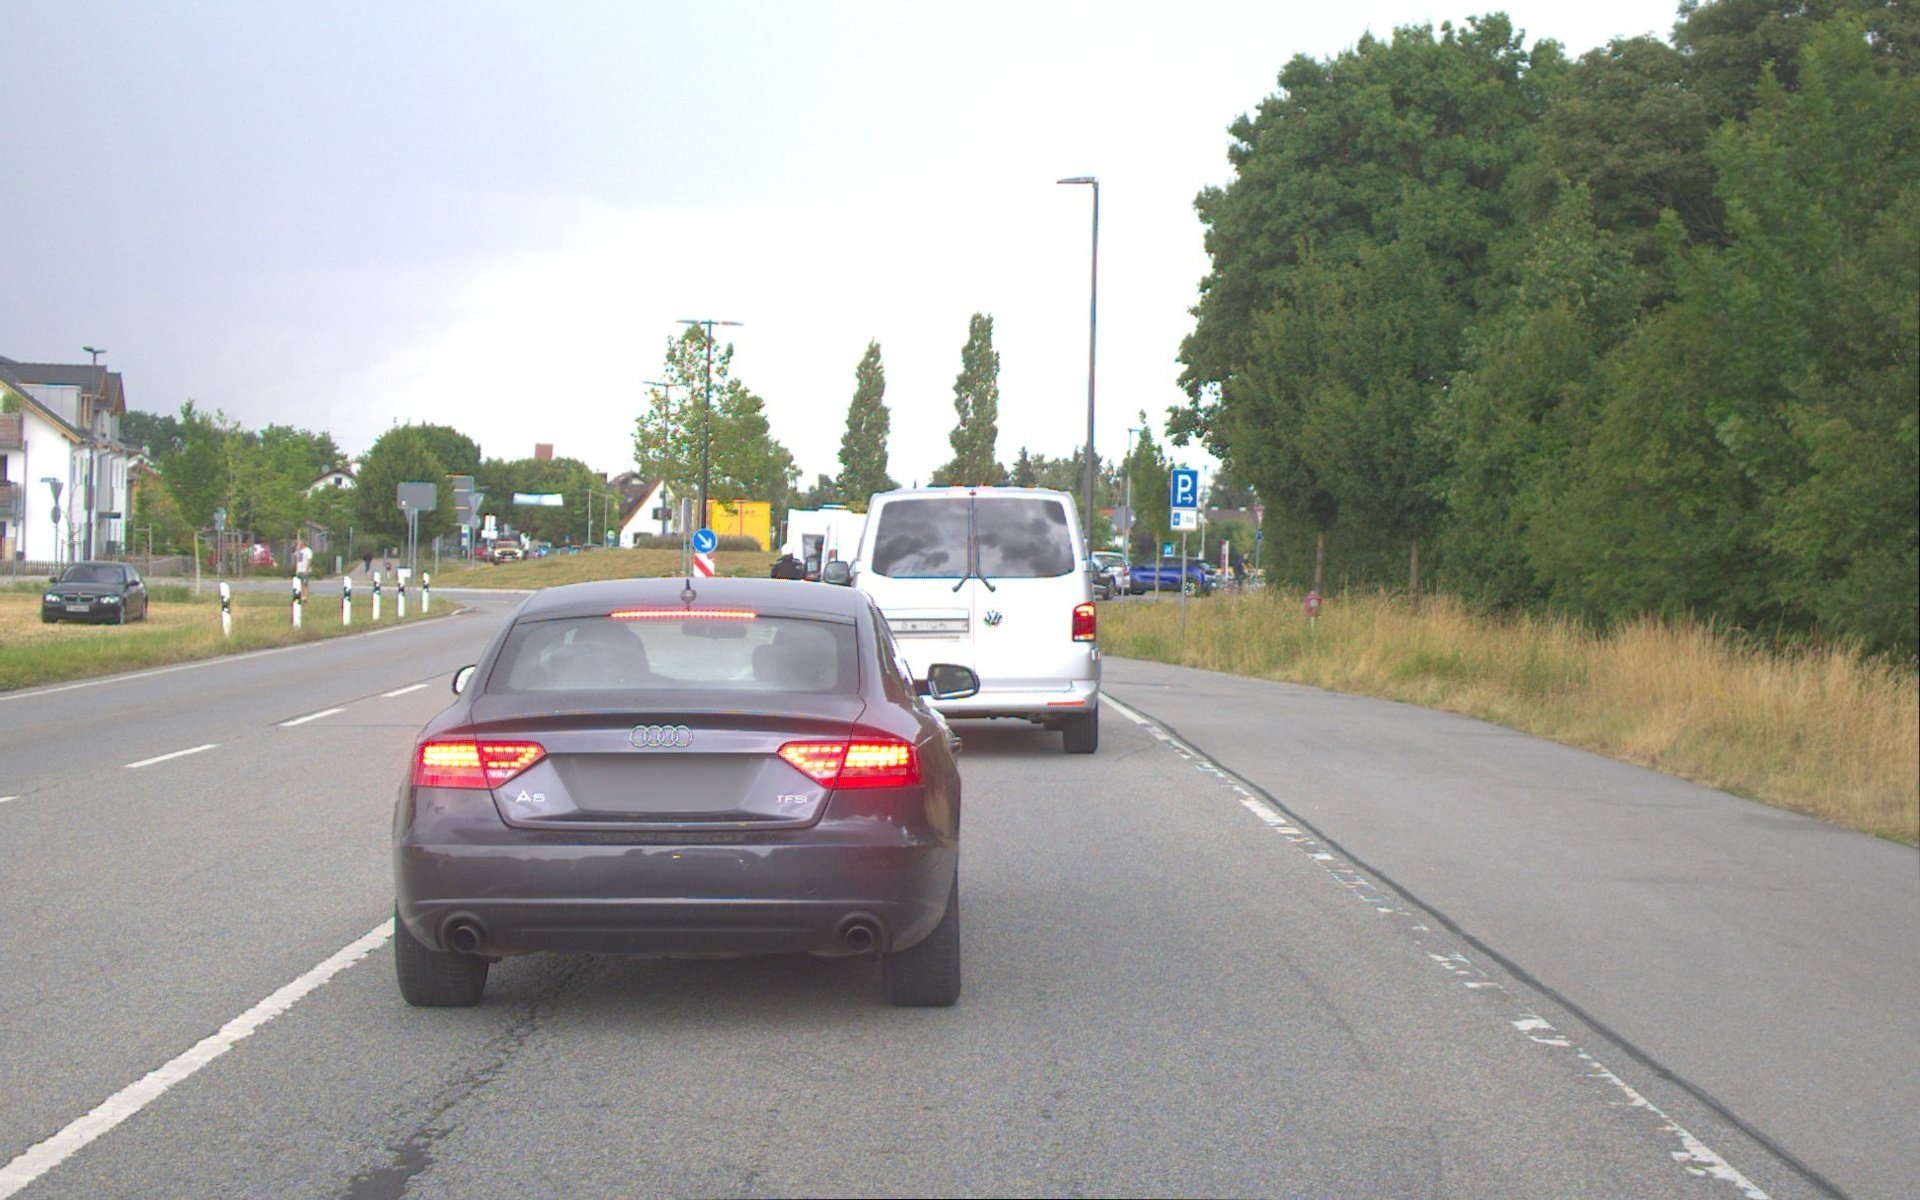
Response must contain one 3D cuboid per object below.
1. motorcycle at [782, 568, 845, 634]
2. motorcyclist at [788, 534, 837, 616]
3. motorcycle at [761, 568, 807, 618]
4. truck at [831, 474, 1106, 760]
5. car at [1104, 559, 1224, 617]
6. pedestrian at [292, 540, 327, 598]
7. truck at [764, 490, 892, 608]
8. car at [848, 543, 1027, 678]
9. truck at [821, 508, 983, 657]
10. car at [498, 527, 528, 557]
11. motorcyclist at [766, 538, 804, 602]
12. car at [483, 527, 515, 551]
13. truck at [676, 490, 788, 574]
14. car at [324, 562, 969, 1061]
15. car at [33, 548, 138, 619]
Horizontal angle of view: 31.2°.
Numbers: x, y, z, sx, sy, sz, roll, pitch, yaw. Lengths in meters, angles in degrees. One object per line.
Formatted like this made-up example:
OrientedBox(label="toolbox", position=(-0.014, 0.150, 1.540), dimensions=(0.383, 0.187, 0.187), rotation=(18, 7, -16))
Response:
OrientedBox(label="motorcycle", position=(-2.529, 0.009, 59.530), dimensions=(0.920, 1.090, 2.188), rotation=(1, 1, 1))
OrientedBox(label="motorcyclist", position=(-2.546, -0.434, 59.443), dimensions=(0.772, 1.379, 0.820), rotation=(1, 1, 1))
OrientedBox(label="motorcycle", position=(-3.750, -0.162, 73.298), dimensions=(0.944, 1.016, 2.284), rotation=(1, 1, -3))
OrientedBox(label="truck", position=(0.073, 0.081, 26.591), dimensions=(1.904, 1.991, 4.628), rotation=(1, 1, 0))
OrientedBox(label="car", position=(7.564, -0.451, 127.452), dimensions=(3.991, 2.007, 1.998), rotation=(2, 1, 20))
OrientedBox(label="pedestrian", position=(-17.686, -0.840, 93.458), dimensions=(0.701, 1.580, 0.657), rotation=(1, 1, 17))
OrientedBox(label="truck", position=(-3.294, -1.257, 84.503), dimensions=(2.626, 2.728, 5.868), rotation=(2, 1, -7))
OrientedBox(label="car", position=(-0.269, 0.096, 40.680), dimensions=(1.993, 1.480, 4.000), rotation=(1, 1, 0))
OrientedBox(label="truck", position=(-0.787, -0.273, 49.976), dimensions=(2.194, 2.007, 5.085), rotation=(1, 1, 0))
OrientedBox(label="car", position=(-31.199, -4.042, 239.841), dimensions=(1.993, 2.007, 4.001), rotation=(2, 1, -7))
OrientedBox(label="motorcyclist", position=(-3.732, -0.647, 73.333), dimensions=(0.785, 1.352, 0.854), rotation=(1, 1, -3))
OrientedBox(label="car", position=(-33.140, -4.371, 247.263), dimensions=(1.993, 1.636, 4.001), rotation=(2, 1, -4))
OrientedBox(label="truck", position=(-10.335, -3.079, 154.430), dimensions=(3.575, 3.566, 9.960), rotation=(2, 1, -12))
OrientedBox(label="car", position=(-0.920, 0.599, 12.222), dimensions=(1.875, 1.449, 4.177), rotation=(0, 1, 0))
OrientedBox(label="car", position=(-19.516, -0.386, 76.842), dimensions=(1.993, 1.437, 4.001), rotation=(1, 2, -11))
